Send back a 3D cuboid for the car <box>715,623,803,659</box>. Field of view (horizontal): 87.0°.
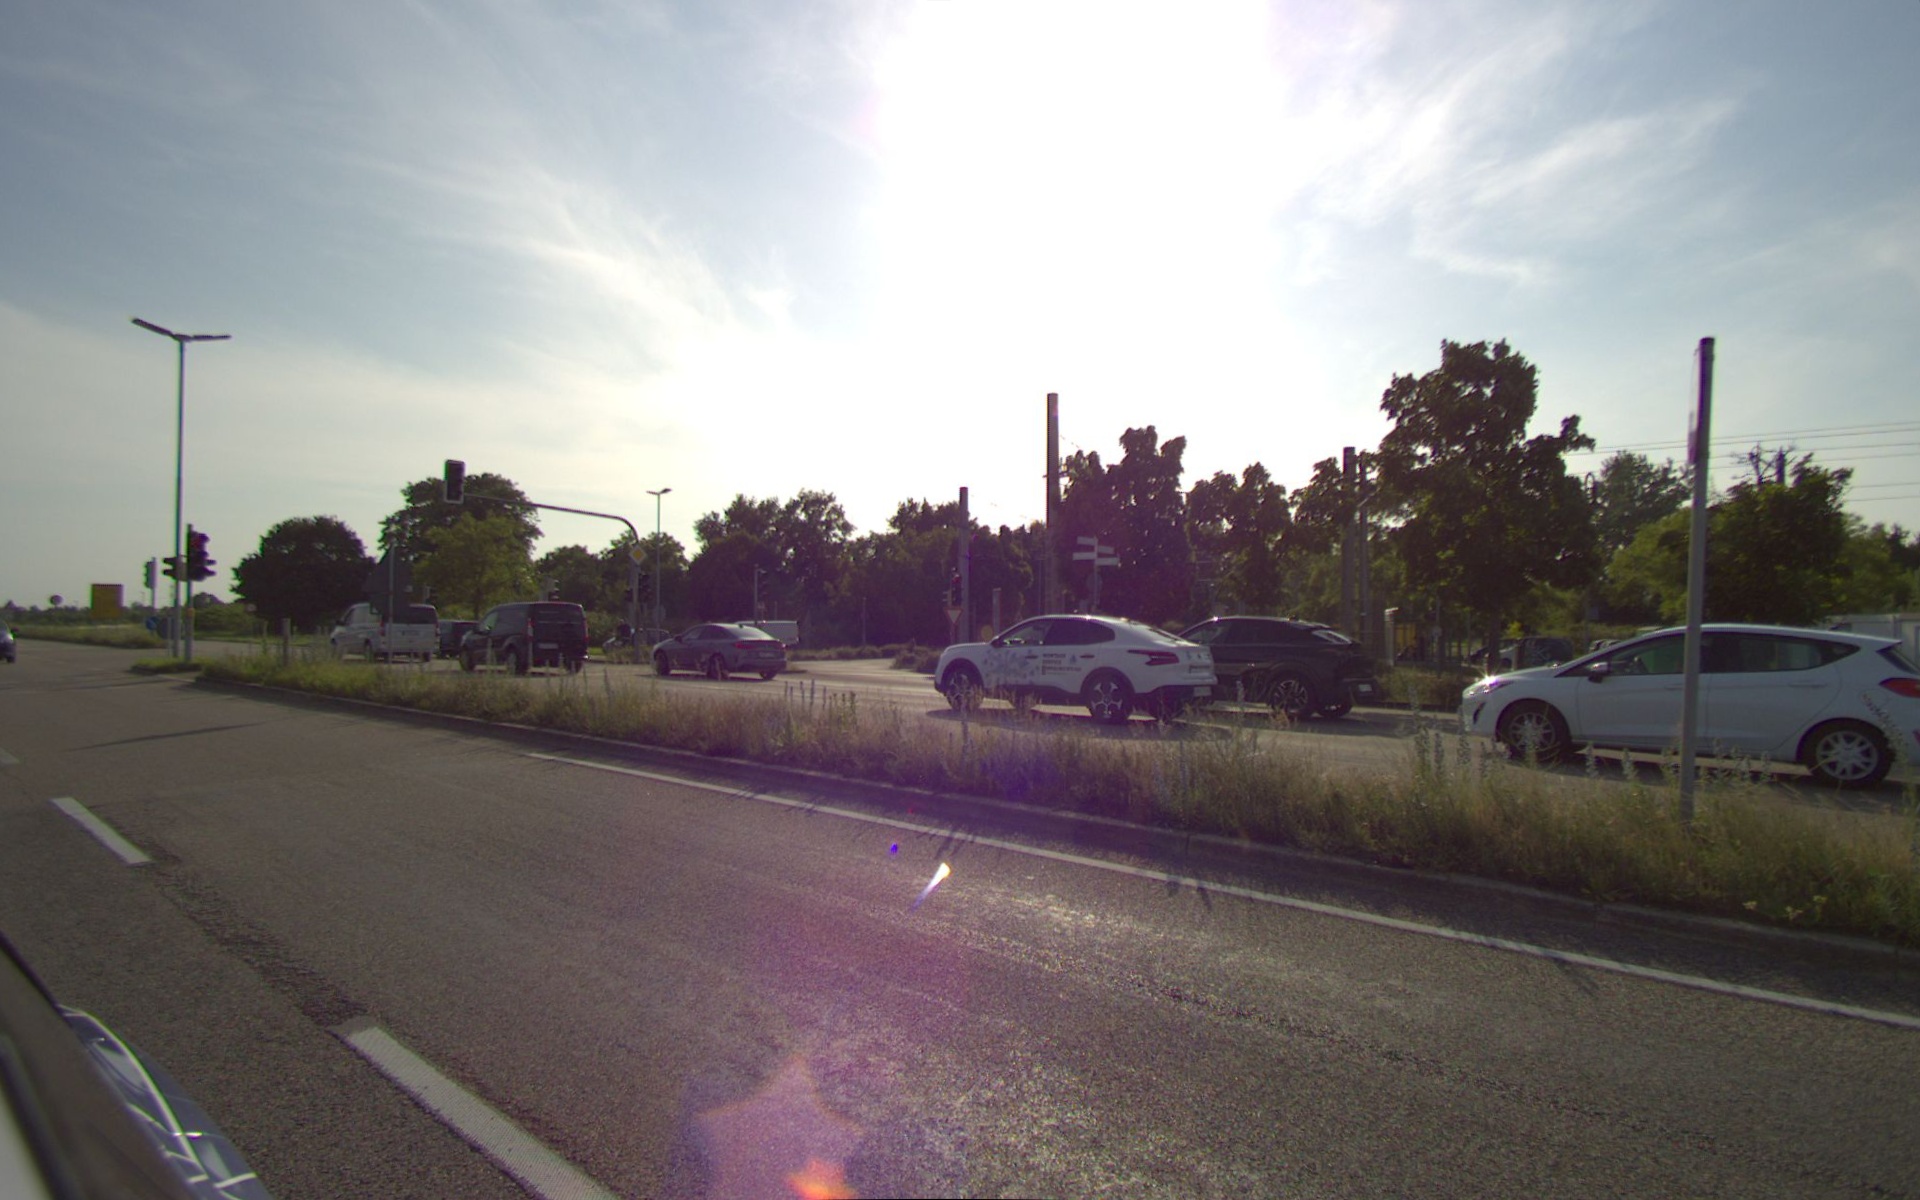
[{"bbox_3d":[-11.742,2.363,59.319,2.250,1.901,4.787,-1,0,36],"label":"car"}]

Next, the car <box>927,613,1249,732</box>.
[{"bbox_3d":[1.765,0.988,15.048,4.582,1.519,1.733,-1,-3,42],"label":"car"}]

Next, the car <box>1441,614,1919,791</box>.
[{"bbox_3d":[7.415,0.919,10.234,4.293,1.481,1.799,-1,-3,42],"label":"car"}]

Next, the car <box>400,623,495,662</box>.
[{"bbox_3d":[-19.315,1.588,38.109,3.959,1.355,1.838,-1,-3,42],"label":"car"}]

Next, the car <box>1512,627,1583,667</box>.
[{"bbox_3d":[24.116,1.898,41.682,1.820,1.431,3.974,-1,0,20],"label":"car"}]

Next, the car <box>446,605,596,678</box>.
[{"bbox_3d":[-11.585,1.066,26.575,4.527,1.759,1.838,-1,-3,42],"label":"car"}]

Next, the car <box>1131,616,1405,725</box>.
[{"bbox_3d":[5.039,1.097,16.818,3.998,1.602,1.778,-1,-3,41],"label":"car"}]

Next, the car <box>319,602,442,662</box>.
[{"bbox_3d":[-19.193,1.058,33.413,5.077,1.843,1.972,-1,-4,42],"label":"car"}]

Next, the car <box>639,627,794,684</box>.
[{"bbox_3d":[-6.554,1.442,26.987,4.372,1.355,1.838,-1,-3,42],"label":"car"}]

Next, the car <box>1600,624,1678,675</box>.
[{"bbox_3d":[28.106,2.016,41.858,3.619,1.891,1.837,-1,0,-42],"label":"car"}]

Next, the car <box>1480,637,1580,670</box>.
[{"bbox_3d":[29.001,2.721,51.615,3.959,1.549,1.993,-1,0,12],"label":"car"}]

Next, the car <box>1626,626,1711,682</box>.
[{"bbox_3d":[26.474,1.972,37.922,1.822,1.891,3.647,-1,0,23],"label":"car"}]

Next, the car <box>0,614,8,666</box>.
[{"bbox_3d":[-30.289,1.210,30.775,3.999,1.520,1.615,-1,0,42],"label":"car"}]
